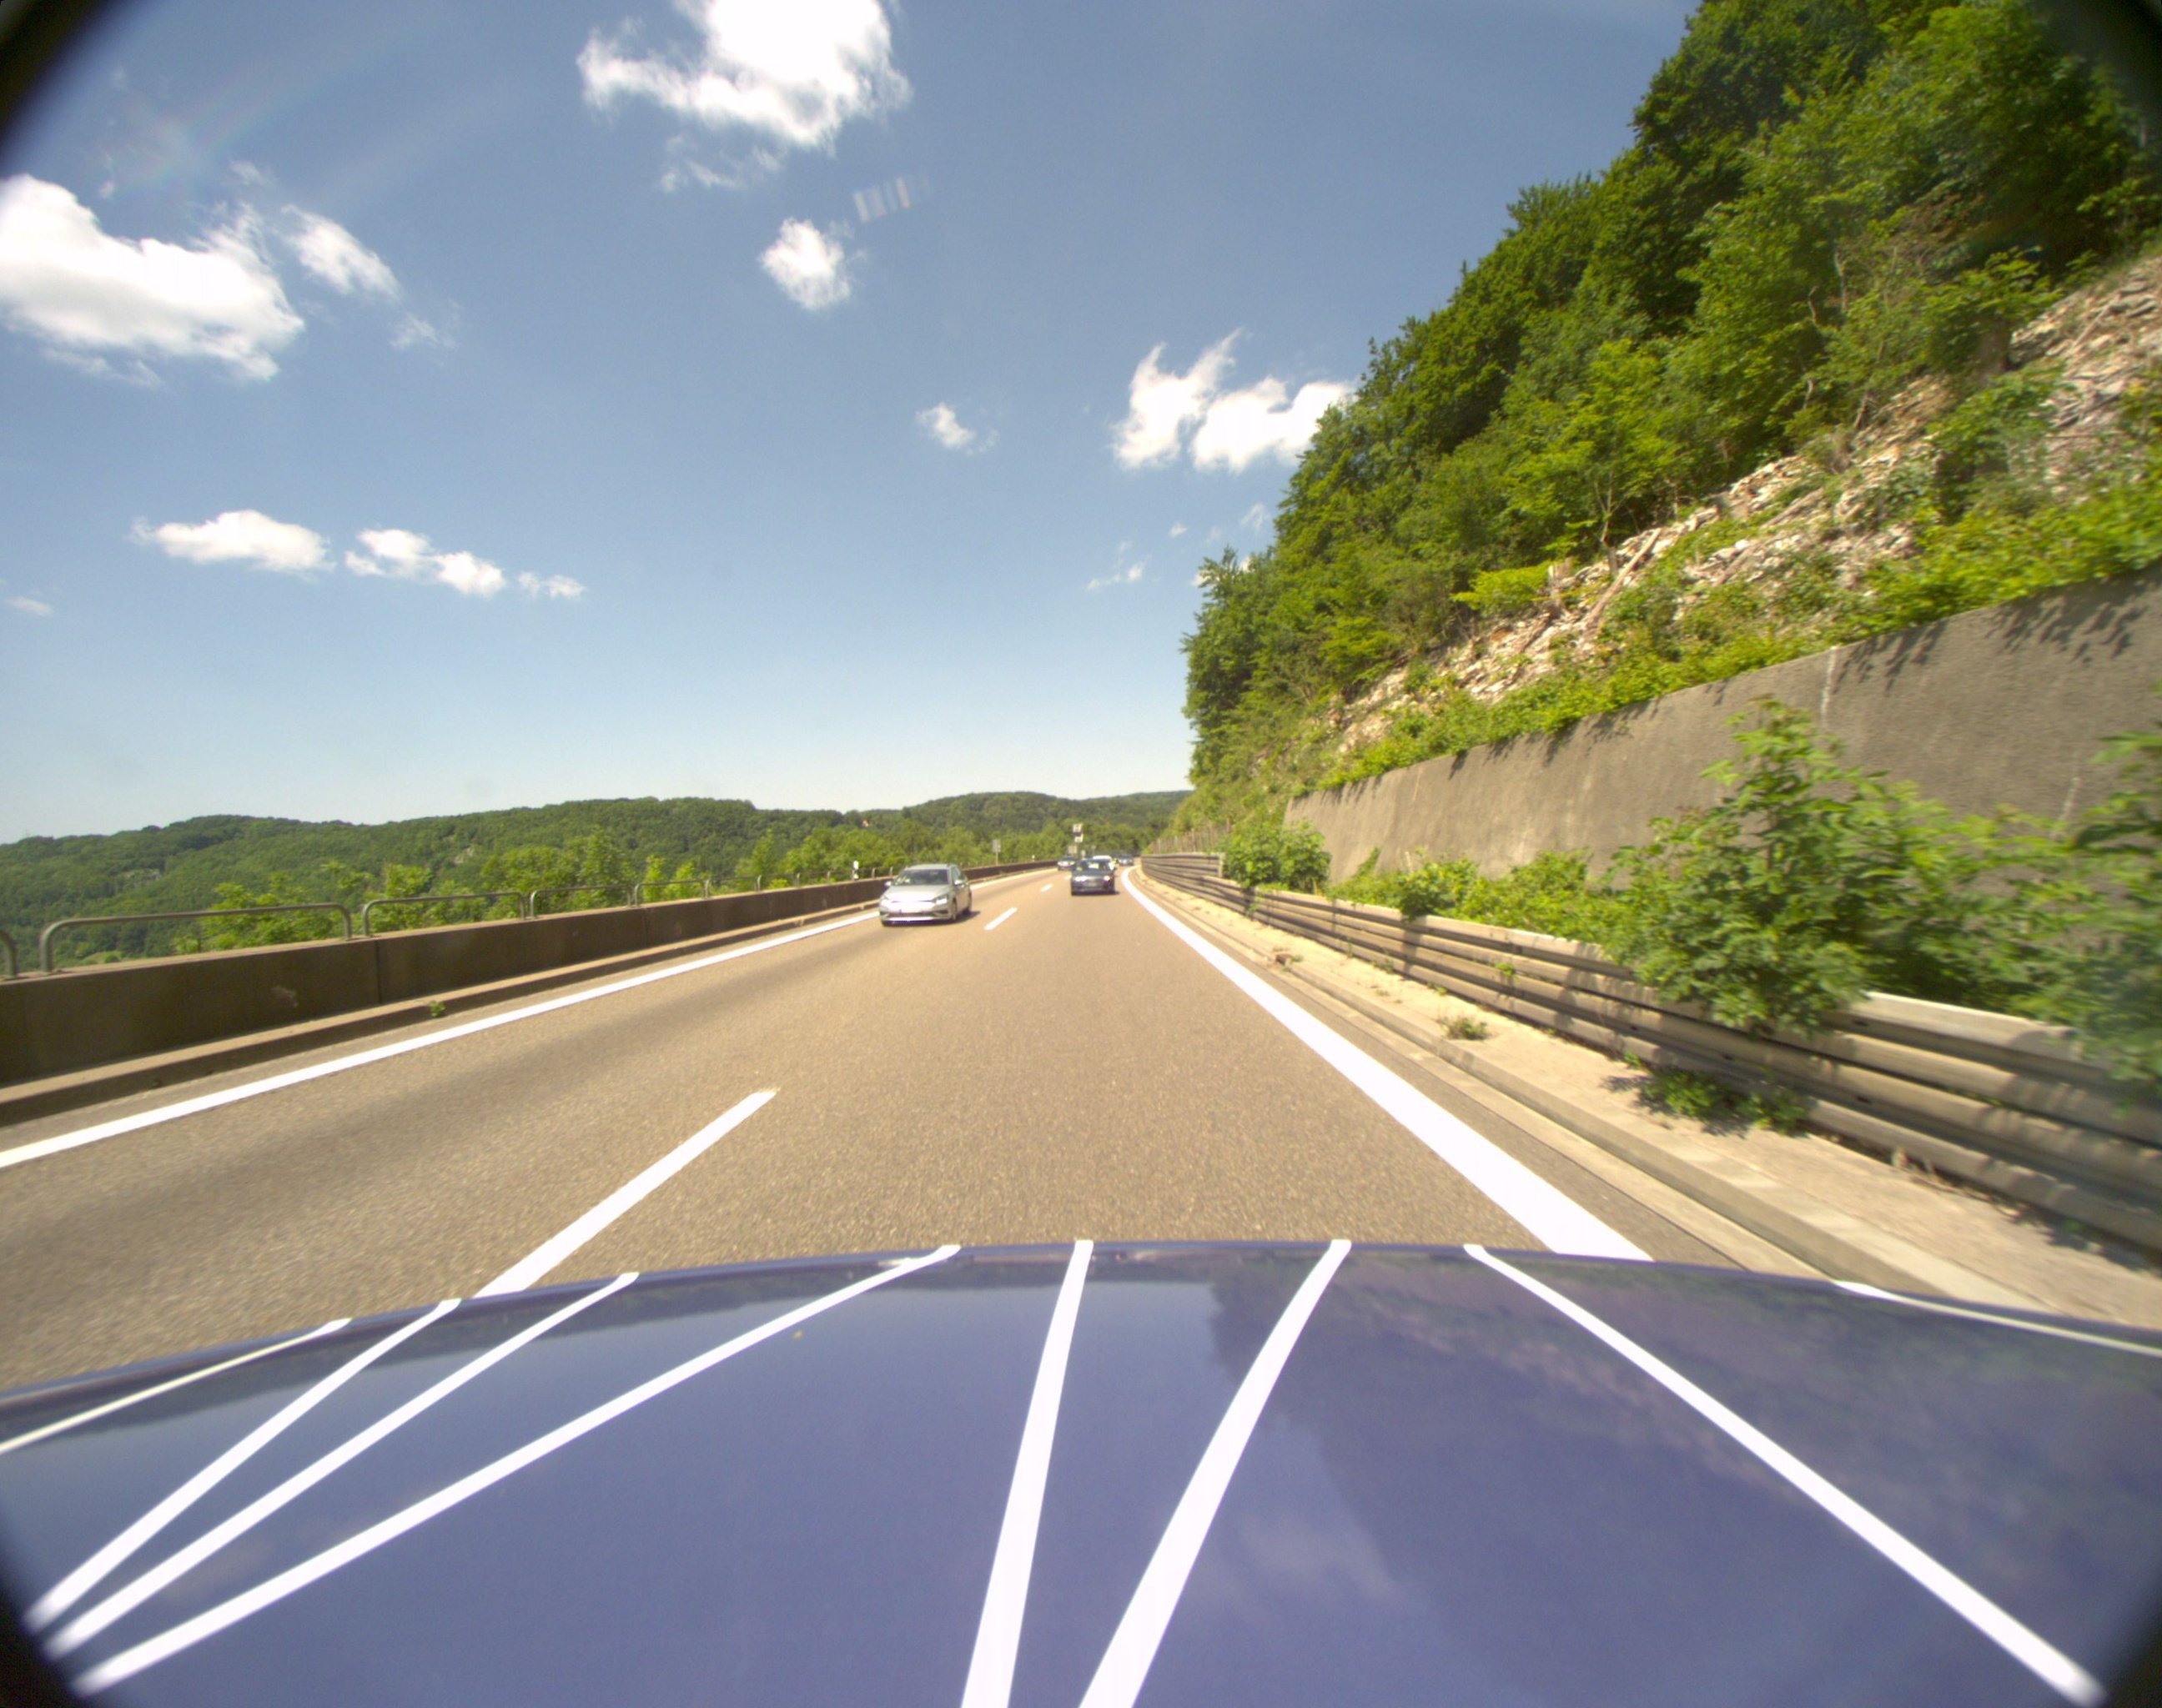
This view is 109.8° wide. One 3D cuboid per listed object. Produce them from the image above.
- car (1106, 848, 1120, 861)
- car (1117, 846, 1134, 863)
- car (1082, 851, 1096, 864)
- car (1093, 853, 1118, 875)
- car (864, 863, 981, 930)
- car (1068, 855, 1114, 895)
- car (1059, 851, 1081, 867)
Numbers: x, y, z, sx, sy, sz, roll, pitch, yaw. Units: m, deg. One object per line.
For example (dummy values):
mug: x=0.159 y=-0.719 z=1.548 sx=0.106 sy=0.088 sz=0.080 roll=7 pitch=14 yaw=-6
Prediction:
car: x=4.848 y=0.032 z=115.355 sx=1.998 sy=2.002 sz=4.000 roll=0 pitch=1 yaw=1
car: x=5.809 y=0.050 z=98.738 sx=1.998 sy=2.002 sz=4.001 roll=-2 pitch=0 yaw=5
car: x=1.020 y=0.408 z=100.104 sx=1.776 sy=1.565 sz=3.999 roll=-2 pitch=0 yaw=0
car: x=1.783 y=0.685 z=54.248 sx=1.703 sy=1.432 sz=4.044 roll=0 pitch=1 yaw=4
car: x=-3.951 y=1.005 z=19.744 sx=1.972 sy=1.370 sz=4.293 roll=-2 pitch=1 yaw=2
car: x=0.444 y=0.786 z=30.192 sx=1.669 sy=1.415 sz=4.044 roll=-1 pitch=1 yaw=2
car: x=-1.114 y=0.533 z=78.697 sx=1.875 sy=1.565 sz=4.001 roll=-2 pitch=0 yaw=5
